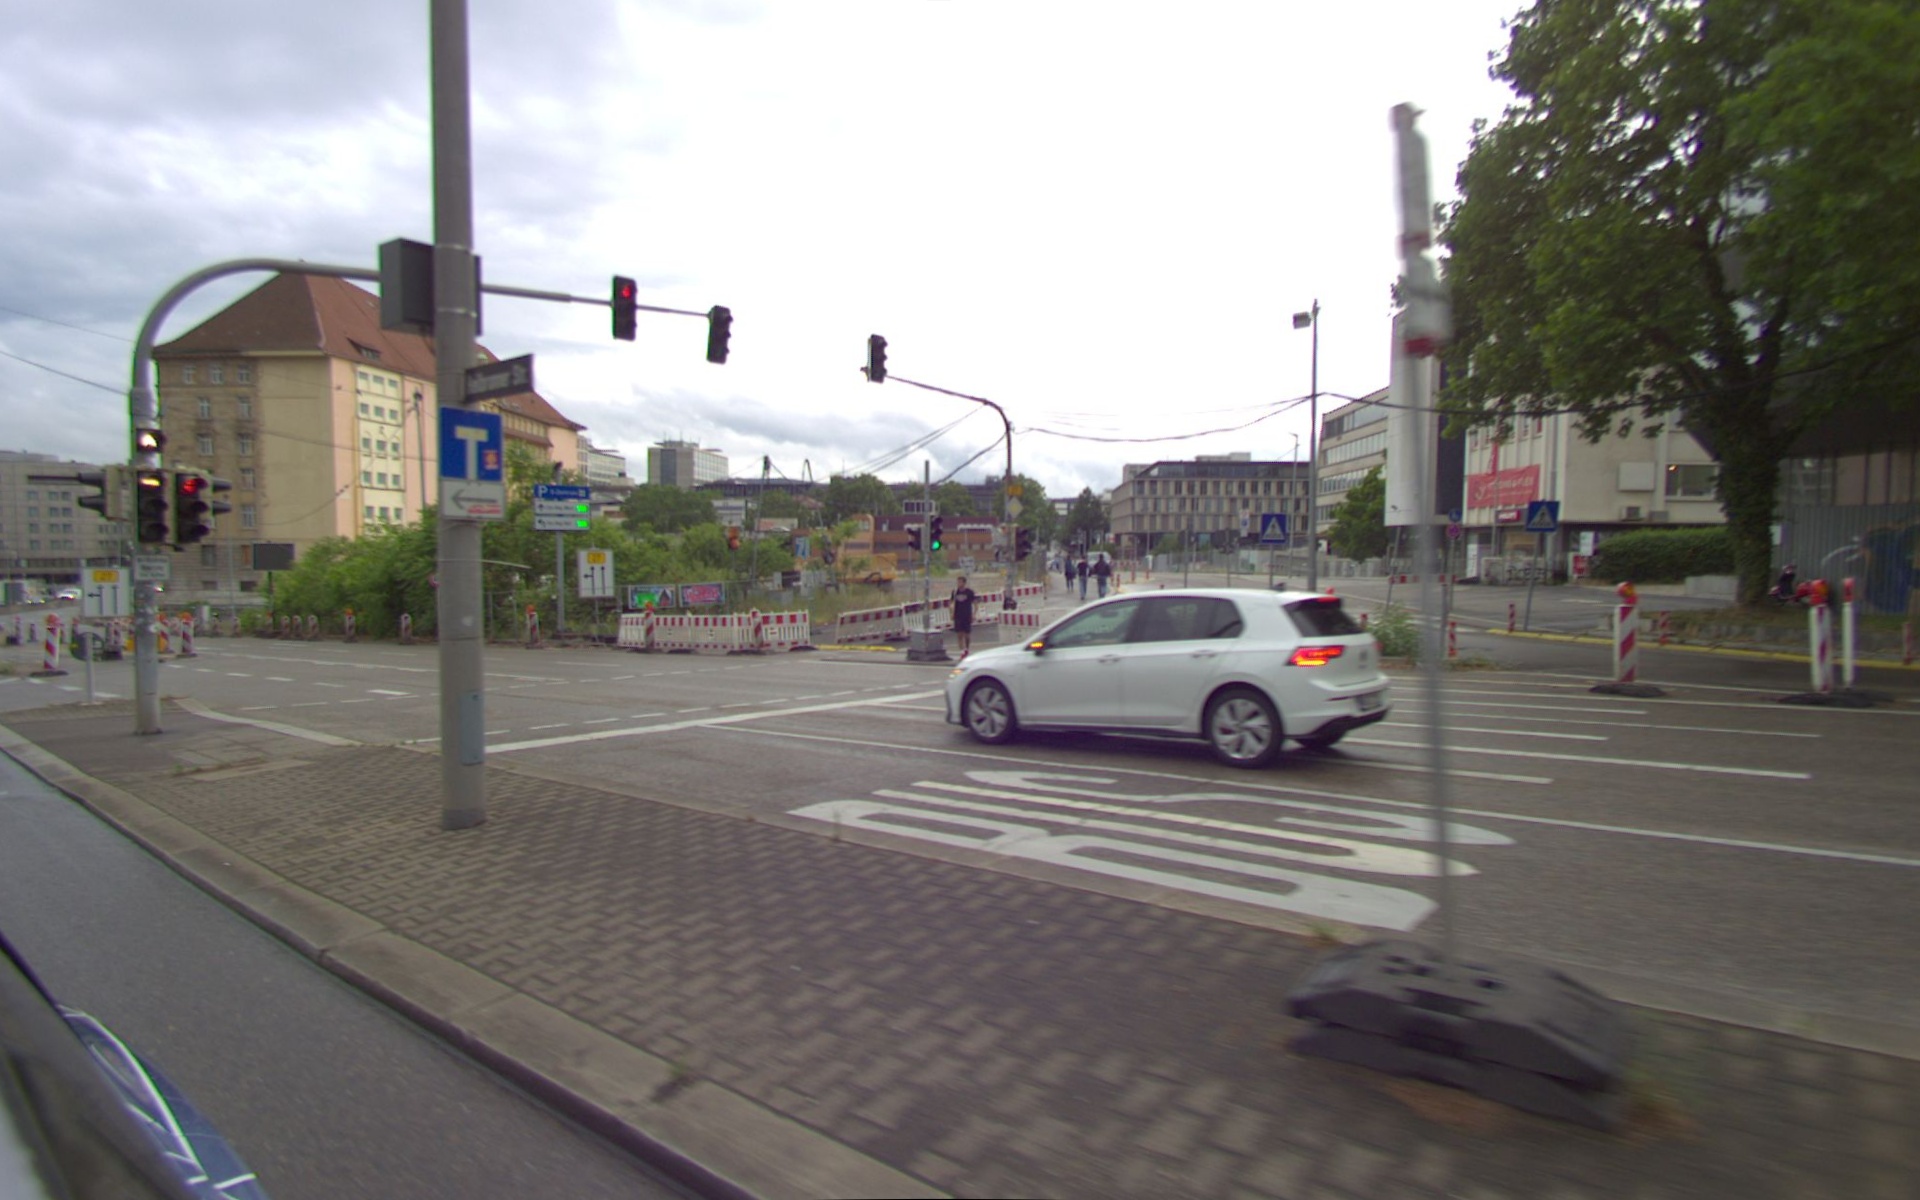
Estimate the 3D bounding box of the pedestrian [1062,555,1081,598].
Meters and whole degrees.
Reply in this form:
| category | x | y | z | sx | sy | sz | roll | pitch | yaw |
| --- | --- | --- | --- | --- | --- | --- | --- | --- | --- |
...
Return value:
| category | x | y | z | sx | sy | sz | roll | pitch | yaw |
| --- | --- | --- | --- | --- | --- | --- | --- | --- | --- |
| pedestrian | 4.979 | -1.049 | 45.308 | 0.758 | 1.866 | 0.783 | -2 | 1 | 5 |

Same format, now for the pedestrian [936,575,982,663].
| category | x | y | z | sx | sy | sz | roll | pitch | yaw |
| --- | --- | --- | --- | --- | --- | --- | --- | --- | --- |
| pedestrian | -0.018 | 0.408 | 22.418 | 0.745 | 1.894 | 0.735 | 1 | 2 | 32 |

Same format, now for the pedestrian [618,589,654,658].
| category | x | y | z | sx | sy | sz | roll | pitch | yaw |
| --- | --- | --- | --- | --- | --- | --- | --- | --- | --- |
| pedestrian | -9.229 | 0.649 | 28.812 | 0.776 | 1.915 | 0.665 | 2 | 3 | 44 |

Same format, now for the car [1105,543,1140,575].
| category | x | y | z | sx | sy | sz | roll | pitch | yaw |
| --- | --- | --- | --- | --- | --- | --- | --- | --- | --- |
| car | 10.643 | -2.714 | 66.481 | 1.974 | 2.028 | 3.995 | 0 | 2 | 4 |

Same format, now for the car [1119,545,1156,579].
| category | x | y | z | sx | sy | sz | roll | pitch | yaw |
| --- | --- | --- | --- | --- | --- | --- | --- | --- | --- |
| car | 10.609 | -2.286 | 60.629 | 1.791 | 1.980 | 3.995 | 0 | 2 | 4 |

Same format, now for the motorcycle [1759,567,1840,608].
| category | x | y | z | sx | sy | sz | roll | pitch | yaw |
| --- | --- | --- | --- | --- | --- | --- | --- | --- | --- |
| motorcycle | 22.444 | -0.349 | 27.111 | 0.559 | 1.045 | 2.179 | -2 | 1 | 6 |

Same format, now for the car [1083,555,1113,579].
| category | x | y | z | sx | sy | sz | roll | pitch | yaw |
| --- | --- | --- | --- | --- | --- | --- | --- | --- | --- |
| car | 10.252 | -2.493 | 75.629 | 1.974 | 1.718 | 3.995 | 0 | 2 | 4 |

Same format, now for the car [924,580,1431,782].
| category | x | y | z | sx | sy | sz | roll | pitch | yaw |
| --- | --- | --- | --- | --- | --- | --- | --- | --- | --- |
| car | 1.844 | 0.627 | 9.500 | 4.357 | 1.472 | 1.743 | -1 | -1 | 41 |

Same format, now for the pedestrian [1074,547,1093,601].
| category | x | y | z | sx | sy | sz | roll | pitch | yaw |
| --- | --- | --- | --- | --- | --- | --- | --- | --- | --- |
| pedestrian | 4.993 | -1.057 | 41.058 | 0.738 | 2.187 | 0.701 | 0 | 2 | 5 |

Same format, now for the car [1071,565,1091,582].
| category | x | y | z | sx | sy | sz | roll | pitch | yaw |
| --- | --- | --- | --- | --- | --- | --- | --- | --- | --- |
| car | 11.478 | -2.512 | 96.318 | 1.715 | 1.536 | 3.995 | 0 | 2 | 4 |

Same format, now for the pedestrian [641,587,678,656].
| category | x | y | z | sx | sy | sz | roll | pitch | yaw |
| --- | --- | --- | --- | --- | --- | --- | --- | --- | --- |
| pedestrian | -8.703 | 0.609 | 29.332 | 0.742 | 1.936 | 0.752 | 2 | 3 | 44 |

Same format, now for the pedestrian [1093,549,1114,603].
| category | x | y | z | sx | sy | sz | roll | pitch | yaw |
| --- | --- | --- | --- | --- | --- | --- | --- | --- | --- |
| pedestrian | 5.800 | -0.981 | 40.956 | 0.738 | 2.156 | 0.742 | -1 | 2 | 5 |
